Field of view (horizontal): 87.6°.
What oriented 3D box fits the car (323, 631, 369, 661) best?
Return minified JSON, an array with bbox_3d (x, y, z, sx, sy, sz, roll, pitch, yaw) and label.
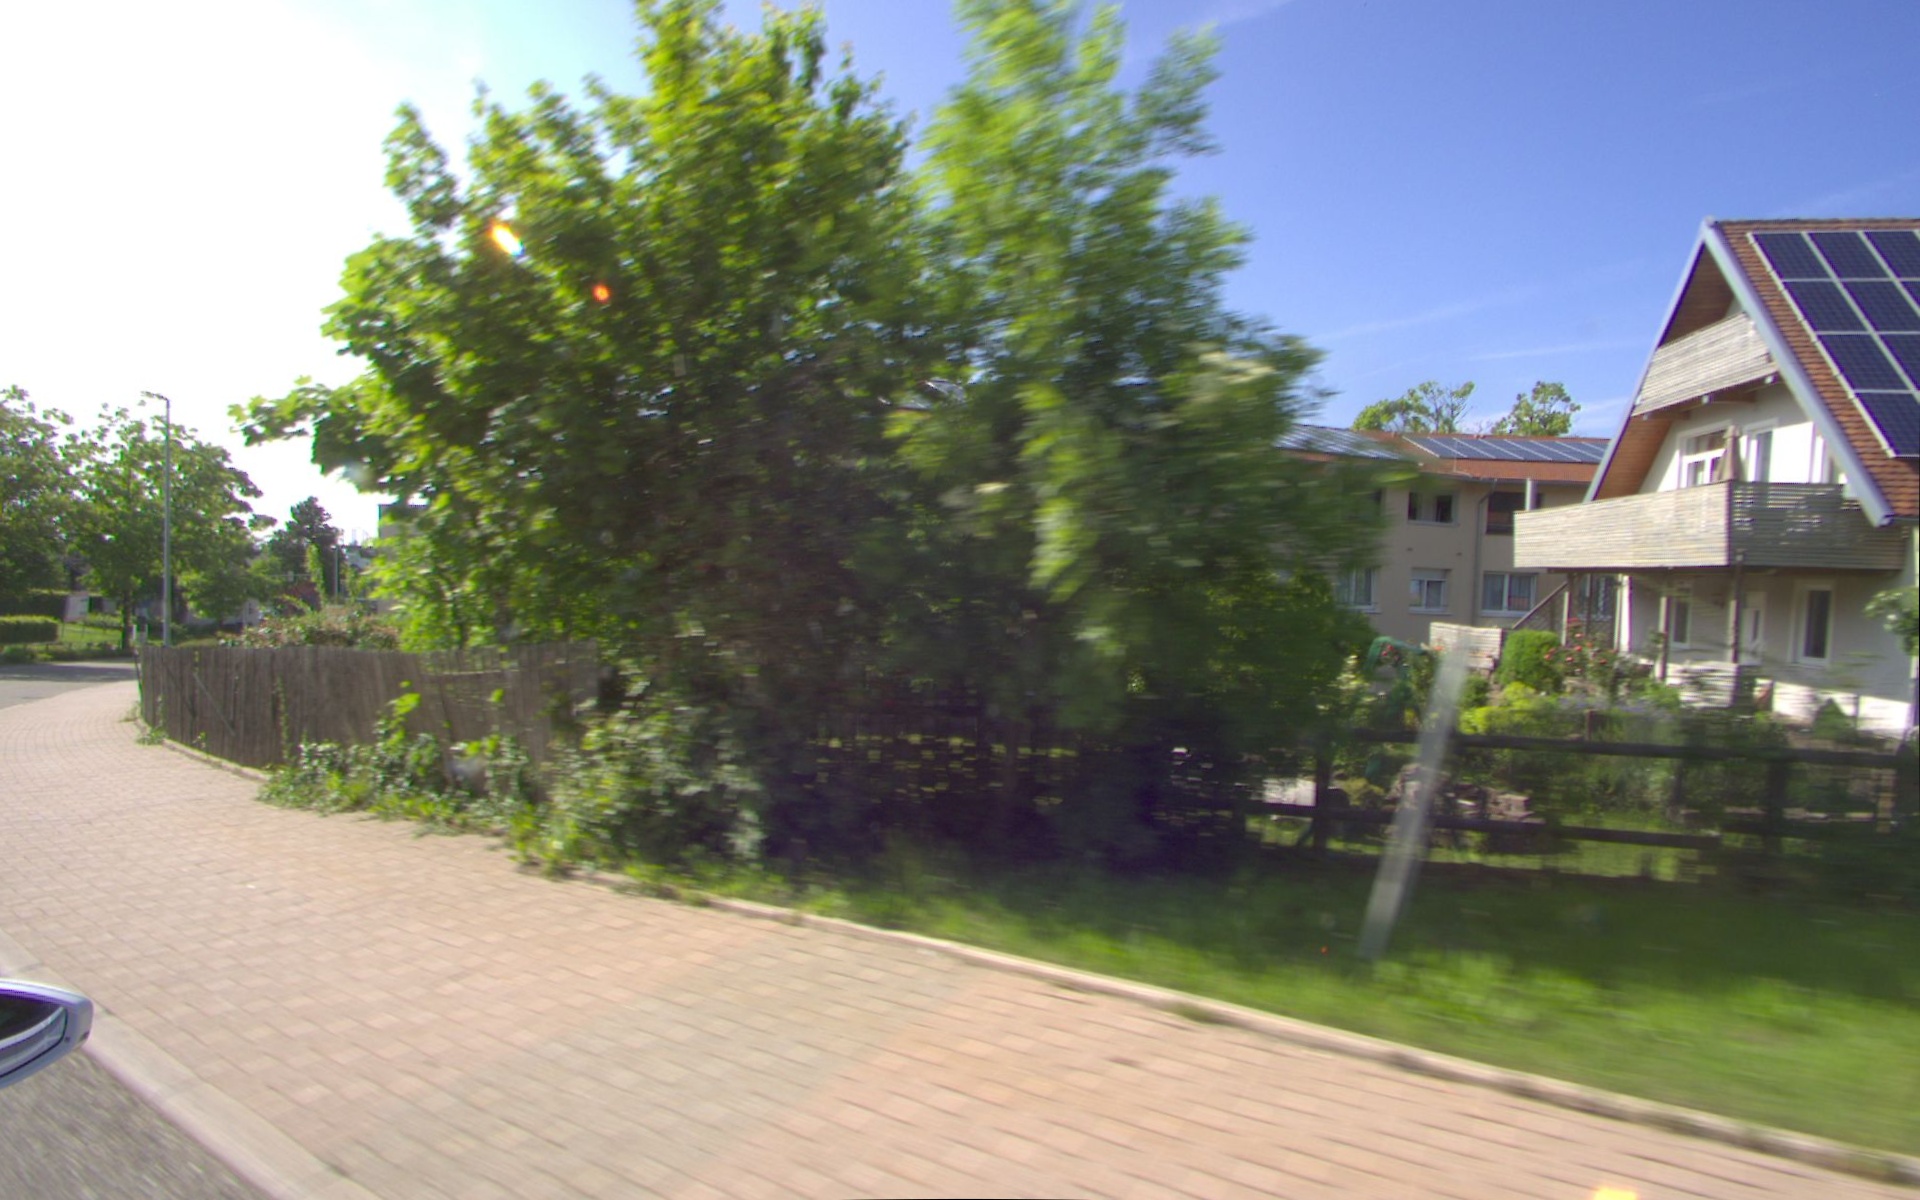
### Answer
[{"bbox_3d":[-33.330,2.492,54.446,1.687,1.555,3.992,1,-2,-25],"label":"car"}]
